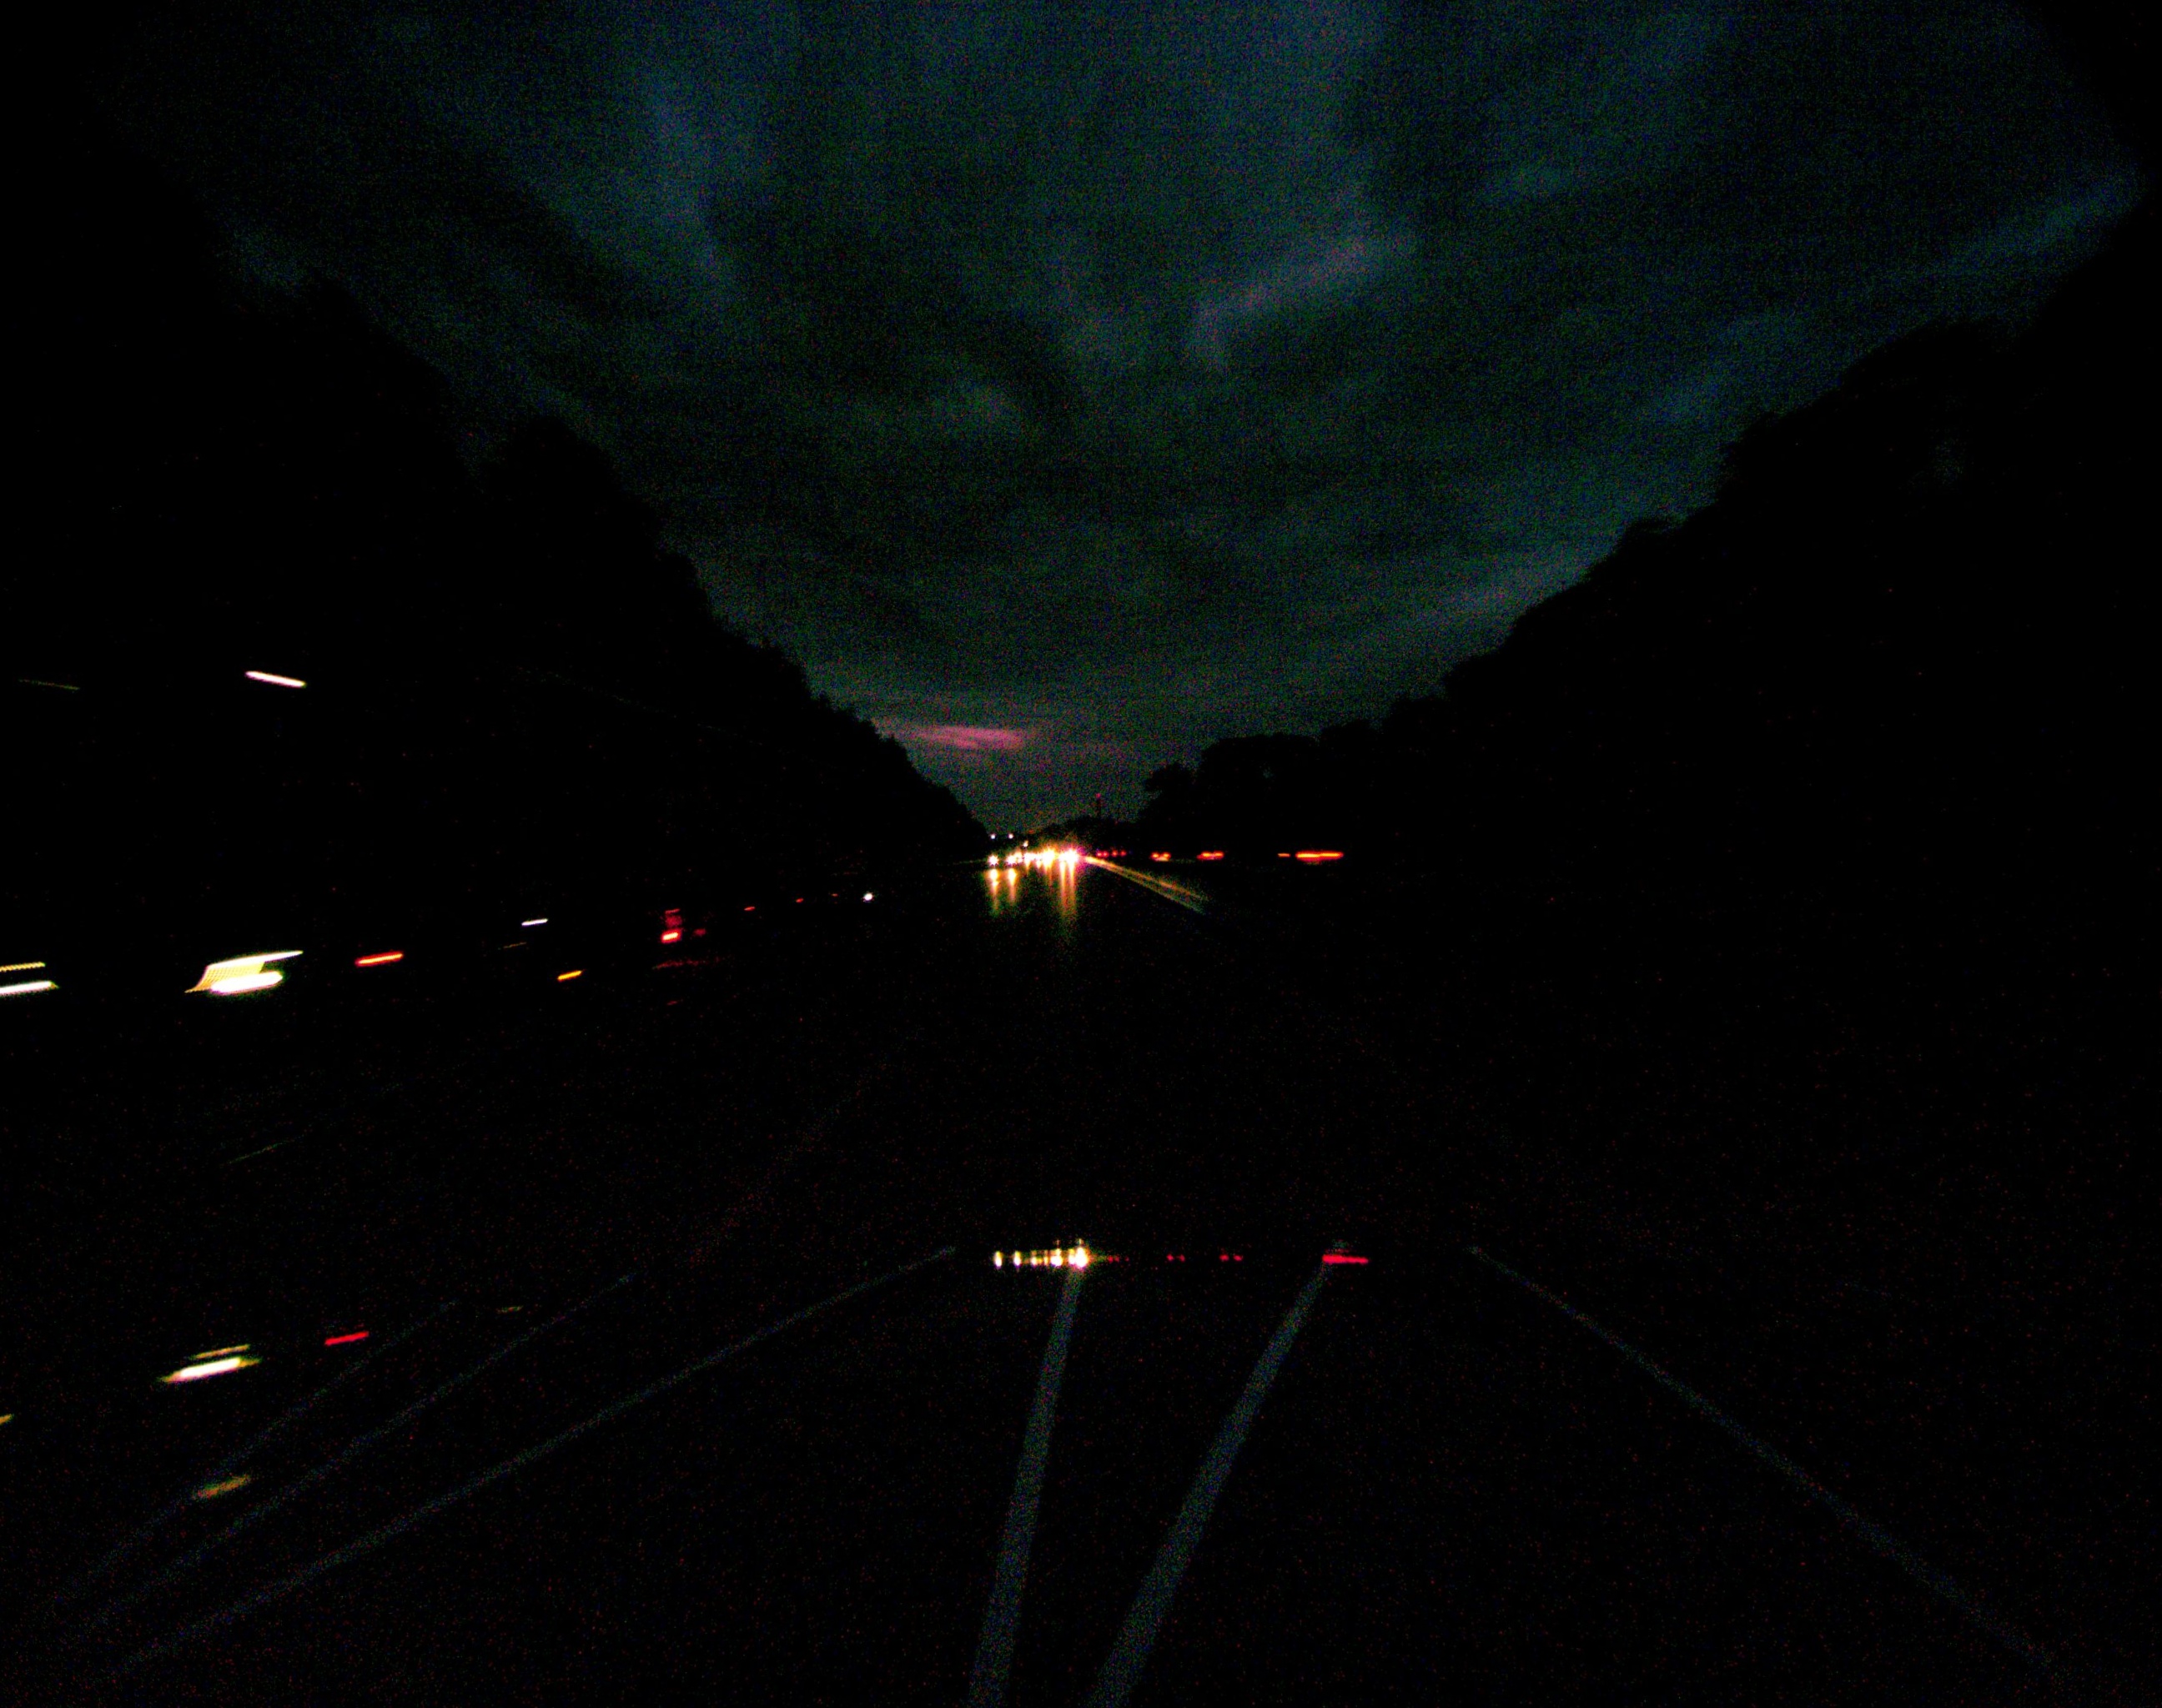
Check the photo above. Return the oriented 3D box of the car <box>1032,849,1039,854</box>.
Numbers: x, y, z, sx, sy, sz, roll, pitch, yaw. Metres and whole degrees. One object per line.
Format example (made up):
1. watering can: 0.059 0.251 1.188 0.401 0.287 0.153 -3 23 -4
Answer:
1. car: -14.749 -0.855 247.394 1.998 1.641 4.000 -2 0 1

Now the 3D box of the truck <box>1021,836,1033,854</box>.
1. truck: -12.308 -1.931 174.435 2.539 3.967 9.793 -2 0 -3

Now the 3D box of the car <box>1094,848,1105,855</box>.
1. car: 4.042 -0.525 165.928 1.999 1.598 4.659 -2 0 -3

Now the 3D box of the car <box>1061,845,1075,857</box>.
1. car: -2.018 -0.483 119.791 1.869 1.700 4.585 -2 -1 4

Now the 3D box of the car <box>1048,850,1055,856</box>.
1. car: -8.359 -0.295 217.132 1.695 1.481 4.949 0 0 1

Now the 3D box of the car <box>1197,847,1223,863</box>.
1. car: 14.294 0.104 84.431 1.891 1.551 5.095 -2 0 0

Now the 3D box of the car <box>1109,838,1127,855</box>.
1. car: 8.734 -1.792 181.168 3.143 3.945 8.600 -2 0 -4

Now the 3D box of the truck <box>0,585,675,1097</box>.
1. truck: -7.534 -0.101 8.749 2.498 3.945 5.590 -2 1 1

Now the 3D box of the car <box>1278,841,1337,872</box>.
1. car: 14.008 0.142 47.318 1.923 1.706 5.285 -2 0 -2

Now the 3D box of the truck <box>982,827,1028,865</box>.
1. truck: -8.438 -0.885 86.753 3.340 3.945 13.537 -2 0 2

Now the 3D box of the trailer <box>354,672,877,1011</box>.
1. trailer: -7.468 -0.184 15.988 2.489 4.049 13.504 -2 0 0

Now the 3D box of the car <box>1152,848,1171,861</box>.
1. car: 10.277 0.059 97.390 1.824 1.548 4.335 -1 0 -1

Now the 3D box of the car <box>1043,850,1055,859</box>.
1. car: -6.020 0.082 142.815 1.923 1.706 4.943 -2 0 1
